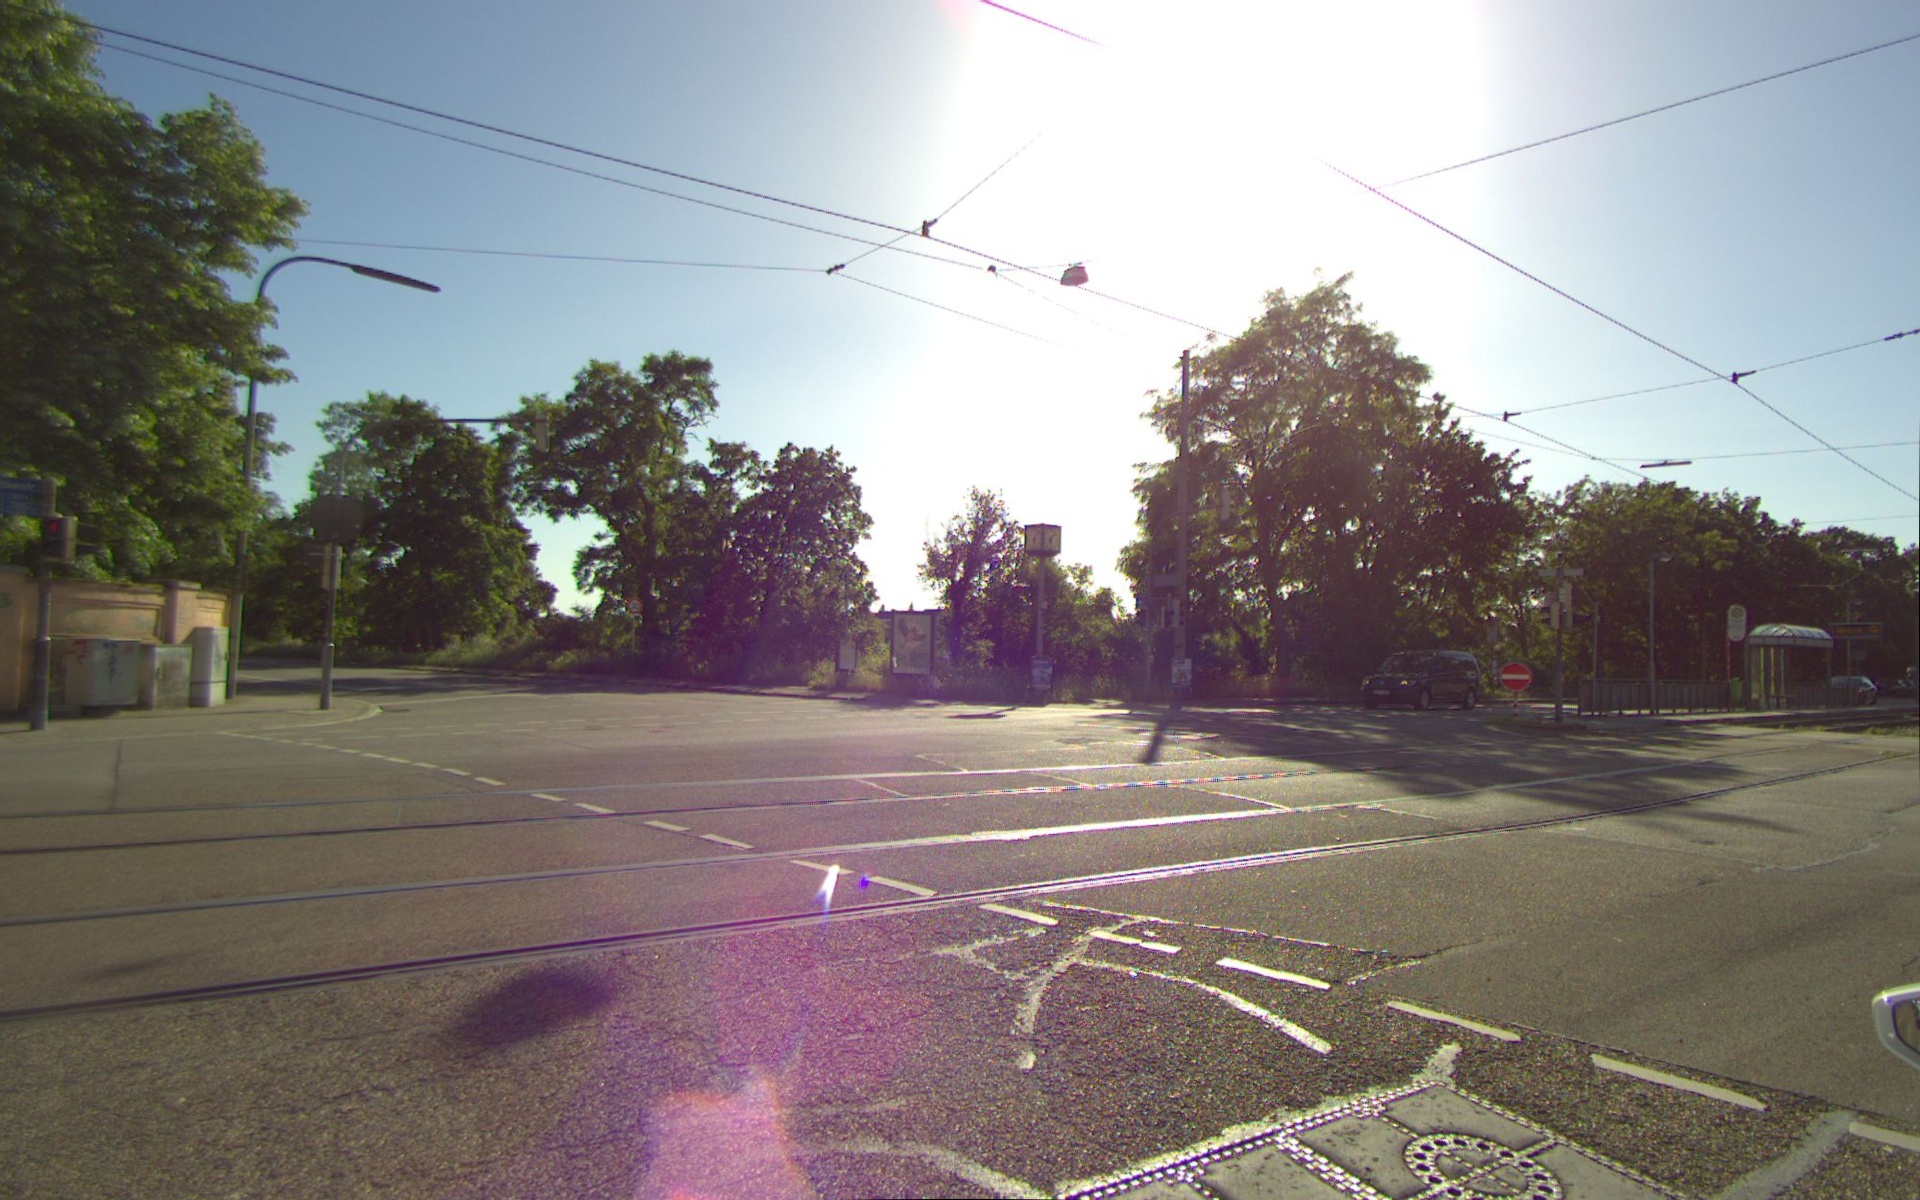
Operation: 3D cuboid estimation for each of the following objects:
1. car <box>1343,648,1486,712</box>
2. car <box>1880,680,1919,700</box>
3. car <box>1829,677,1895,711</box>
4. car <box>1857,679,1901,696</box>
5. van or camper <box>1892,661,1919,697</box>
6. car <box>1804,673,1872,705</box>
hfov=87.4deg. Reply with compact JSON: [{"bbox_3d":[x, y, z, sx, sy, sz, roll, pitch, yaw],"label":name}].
[{"bbox_3d":[14.015,2.472,30.842,4.990,1.789,1.978,5,-4,-39],"label":"car"},{"bbox_3d":[79.975,7.634,85.325,3.962,1.582,1.908,4,-4,-36],"label":"car"},{"bbox_3d":[44.106,4.571,49.090,3.966,1.485,1.791,4,-3,-39],"label":"car"},{"bbox_3d":[75.181,7.143,82.161,3.962,1.282,1.908,4,-4,-36],"label":"car"},{"bbox_3d":[85.569,7.066,89.544,6.729,3.146,2.570,4,-4,-38],"label":"van or camper"},{"bbox_3d":[46.919,4.734,53.676,3.962,1.587,1.908,4,-4,-36],"label":"car"}]
